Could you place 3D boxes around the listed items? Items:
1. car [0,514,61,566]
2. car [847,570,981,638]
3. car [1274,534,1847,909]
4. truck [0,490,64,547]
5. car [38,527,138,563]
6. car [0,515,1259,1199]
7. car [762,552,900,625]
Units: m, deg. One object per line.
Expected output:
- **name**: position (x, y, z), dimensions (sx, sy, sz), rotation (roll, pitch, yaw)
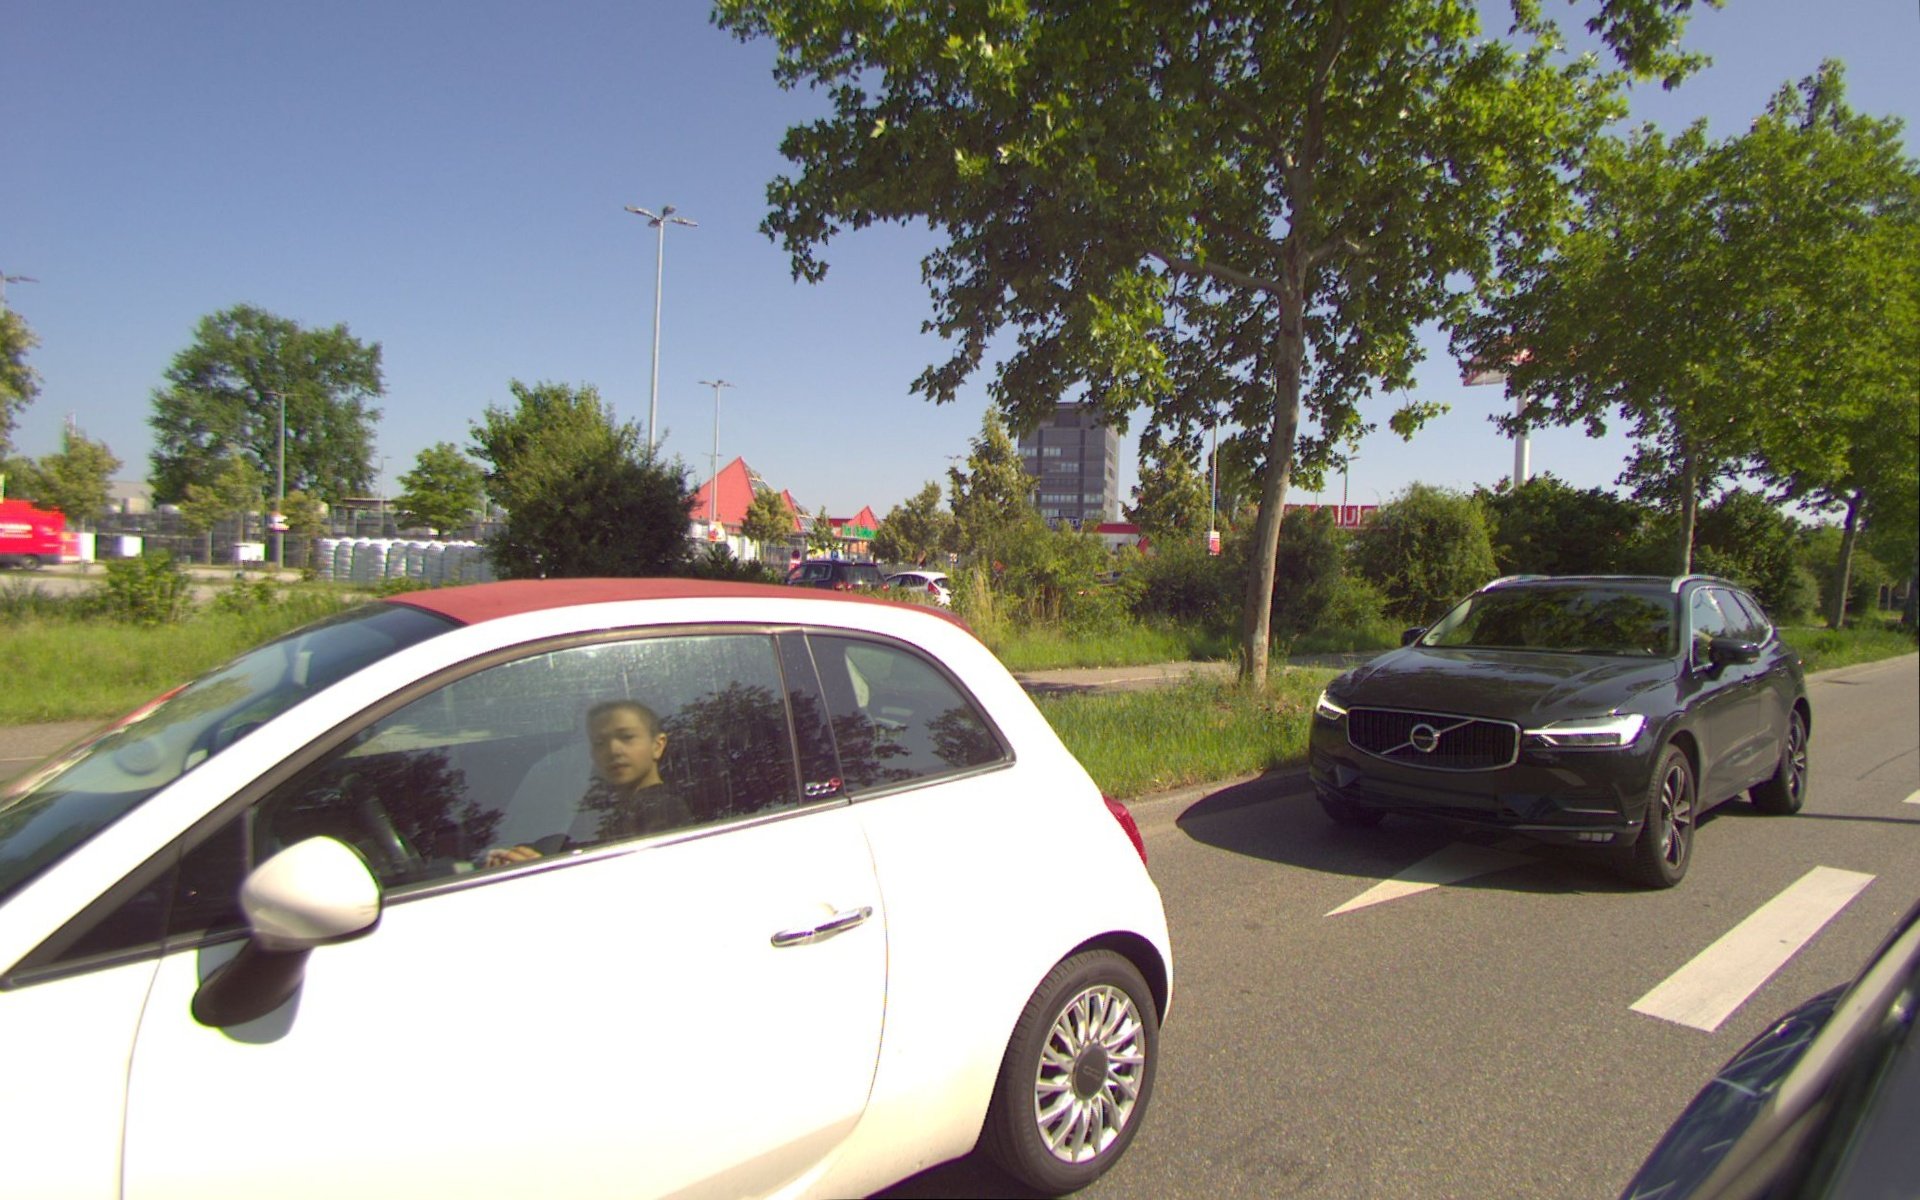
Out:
- **car**: position (-45.951, -2.835, 47.139), dimensions (2.087, 2.370, 5.903), rotation (0, 1, 18)
- **car**: position (-1.296, 0.053, 27.442), dimensions (3.549, 1.717, 1.692), rotation (1, 1, 45)
- **car**: position (4.149, 0.500, 6.645), dimensions (4.485, 1.642, 1.923), rotation (-1, 1, -41)
- **truck**: position (-58.568, -4.957, 60.205), dimensions (1.971, 3.289, 8.190), rotation (0, 1, 15)
- **car**: position (-53.632, -3.334, 62.364), dimensions (1.971, 2.039, 4.370), rotation (0, 1, 15)
- **car**: position (-1.048, 0.607, 2.335), dimensions (3.456, 1.454, 1.665), rotation (0, 1, -39)
- **car**: position (-3.323, -0.306, 25.688), dimensions (3.549, 1.717, 1.692), rotation (1, 1, 45)
